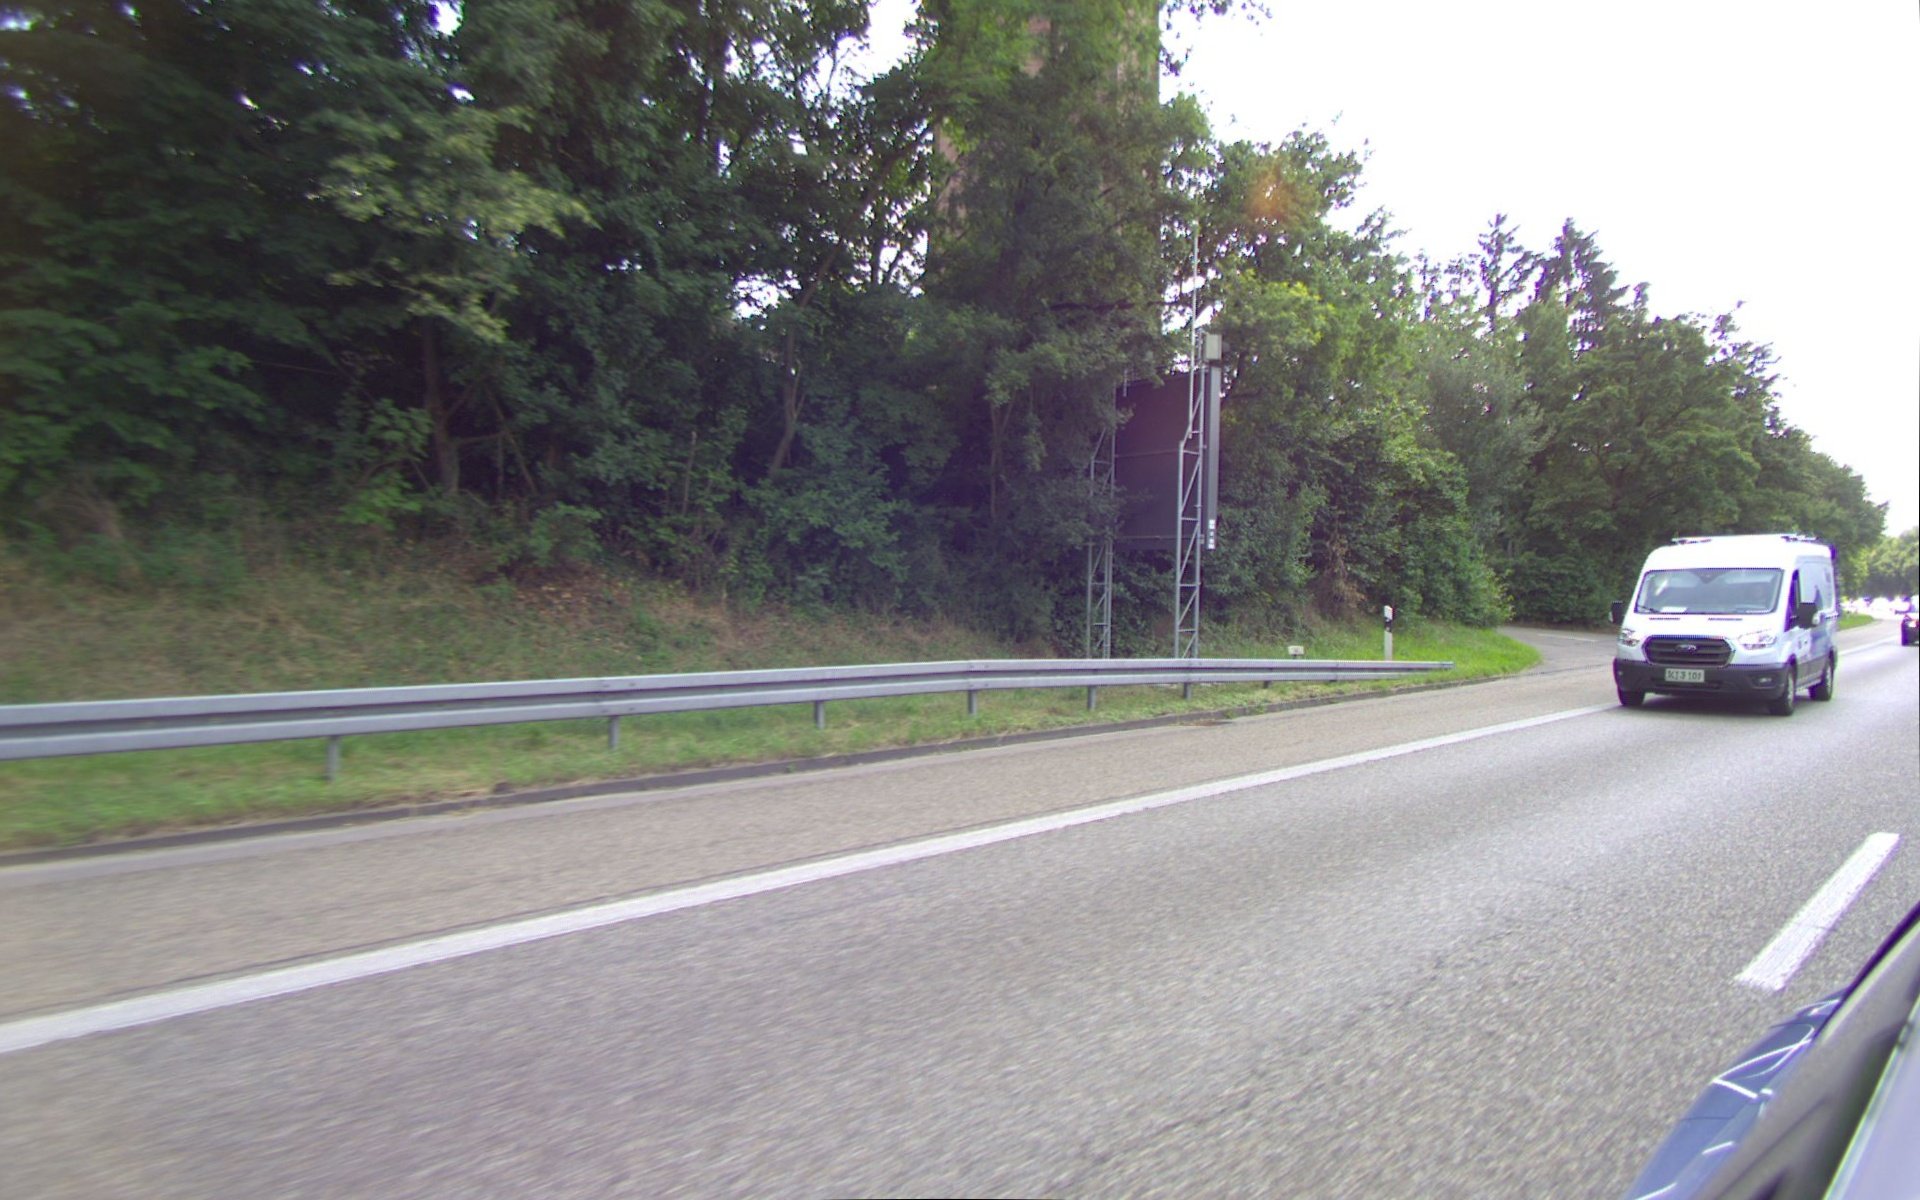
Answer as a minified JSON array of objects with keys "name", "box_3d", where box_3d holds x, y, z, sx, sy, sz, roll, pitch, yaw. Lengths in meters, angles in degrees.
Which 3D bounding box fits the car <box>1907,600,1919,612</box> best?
[{"name":"car","box_3d":[127.201,0.743,134.558,1.781,1.540,3.937,2,1,43]}]

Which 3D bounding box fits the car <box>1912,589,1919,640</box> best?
[{"name":"car","box_3d":[36.704,0.526,37.477,4.323,1.828,1.905,0,0,-44]}]

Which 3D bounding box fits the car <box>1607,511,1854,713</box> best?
[{"name":"car","box_3d":[11.726,0.146,15.242,5.190,2.539,2.101,0,0,-43]}]
